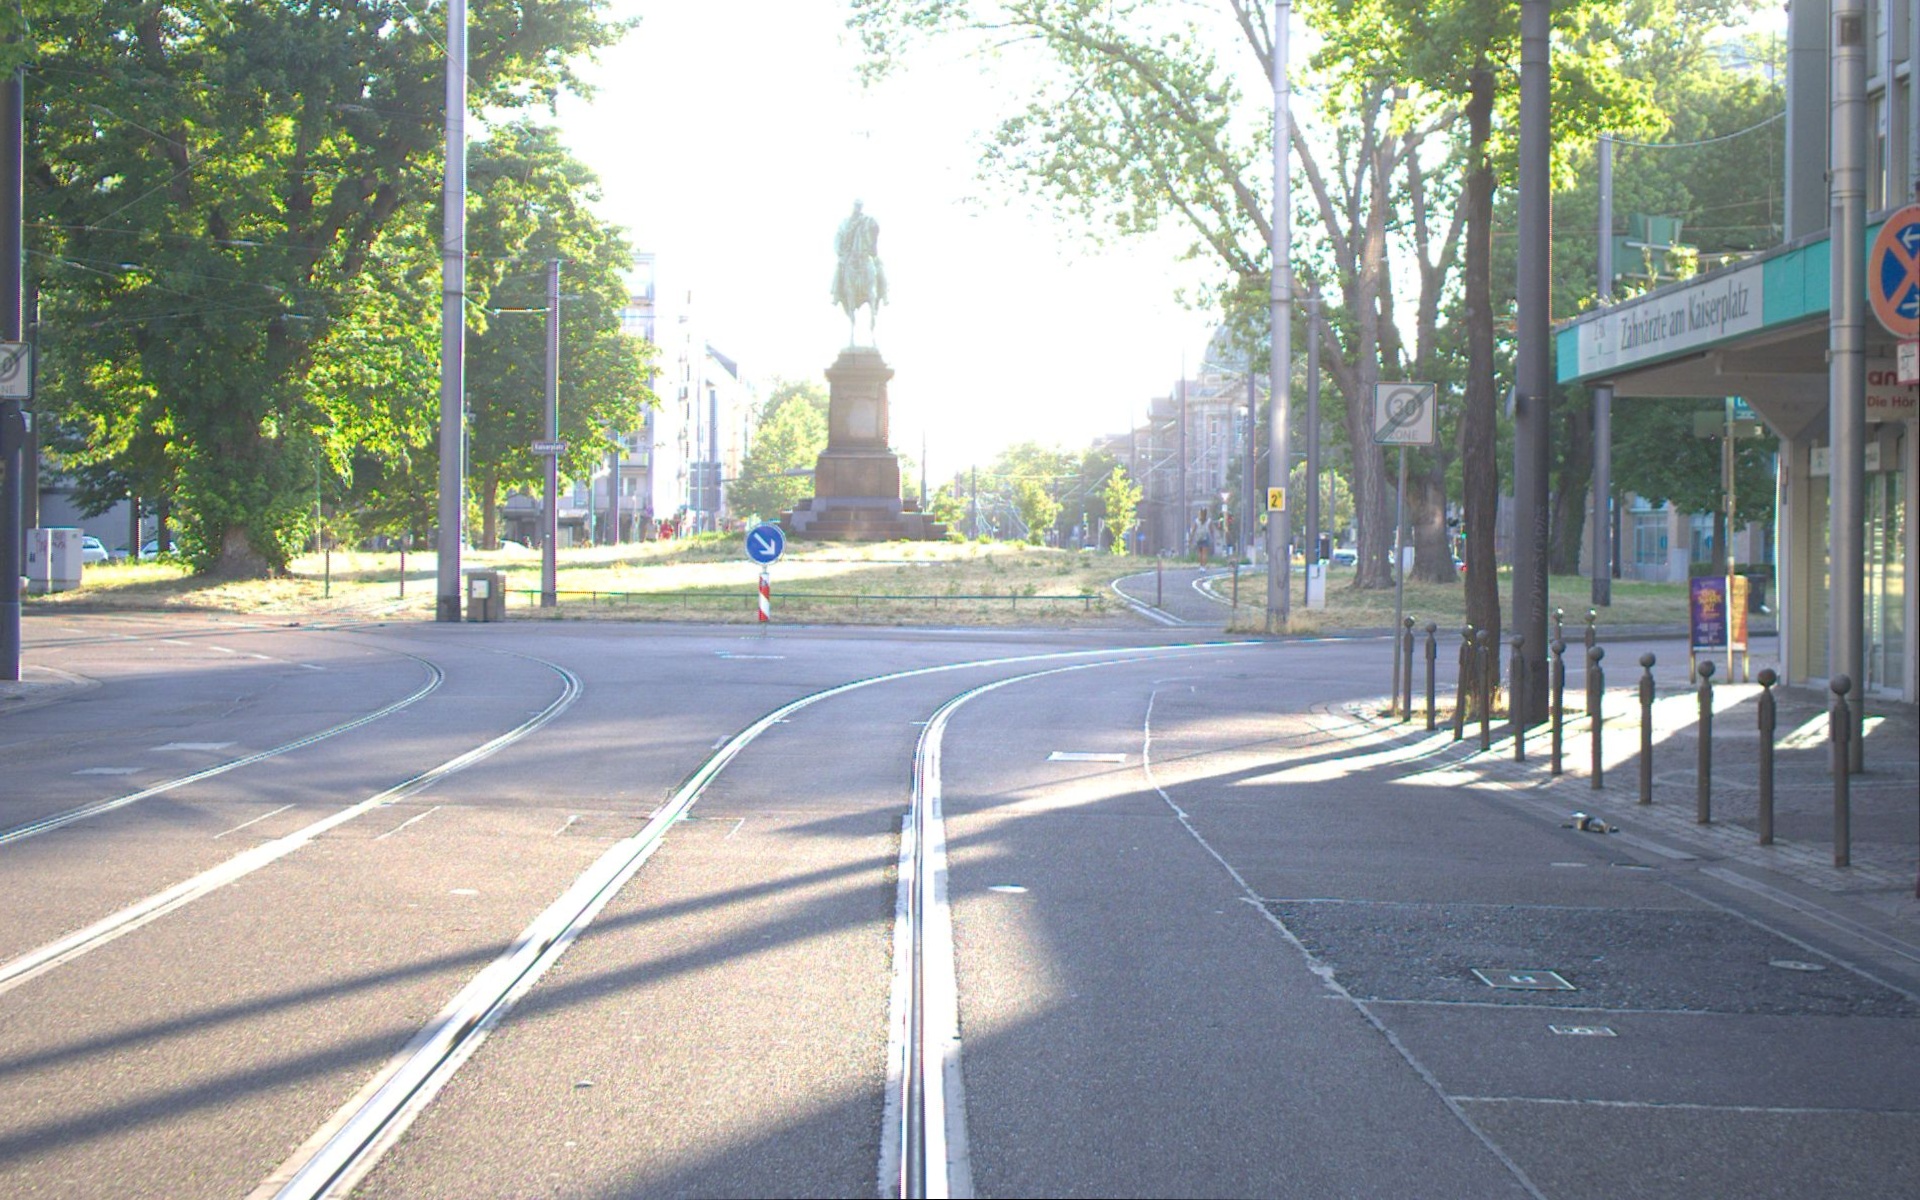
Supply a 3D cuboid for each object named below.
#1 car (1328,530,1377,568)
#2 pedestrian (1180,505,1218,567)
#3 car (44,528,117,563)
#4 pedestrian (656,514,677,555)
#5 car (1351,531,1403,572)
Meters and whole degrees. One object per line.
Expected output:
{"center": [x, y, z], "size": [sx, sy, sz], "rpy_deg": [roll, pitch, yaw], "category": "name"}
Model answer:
{"center": [21.397, -2.789, 187.760], "size": [2.138, 2.007, 4.000], "rpy_deg": [1, 1, -1], "category": "car"}
{"center": [6.181, -1.648, 88.892], "size": [0.769, 1.600, 0.638], "rpy_deg": [-1, 2, -43], "category": "pedestrian"}
{"center": [-36.290, -2.252, 141.927], "size": [1.877, 1.415, 3.925], "rpy_deg": [1, 1, 2], "category": "car"}
{"center": [-11.363, -2.529, 133.028], "size": [0.769, 1.600, 0.638], "rpy_deg": [0, 1, -7], "category": "pedestrian"}
{"center": [21.586, -2.521, 178.036], "size": [2.138, 2.007, 4.000], "rpy_deg": [1, 1, -1], "category": "car"}
